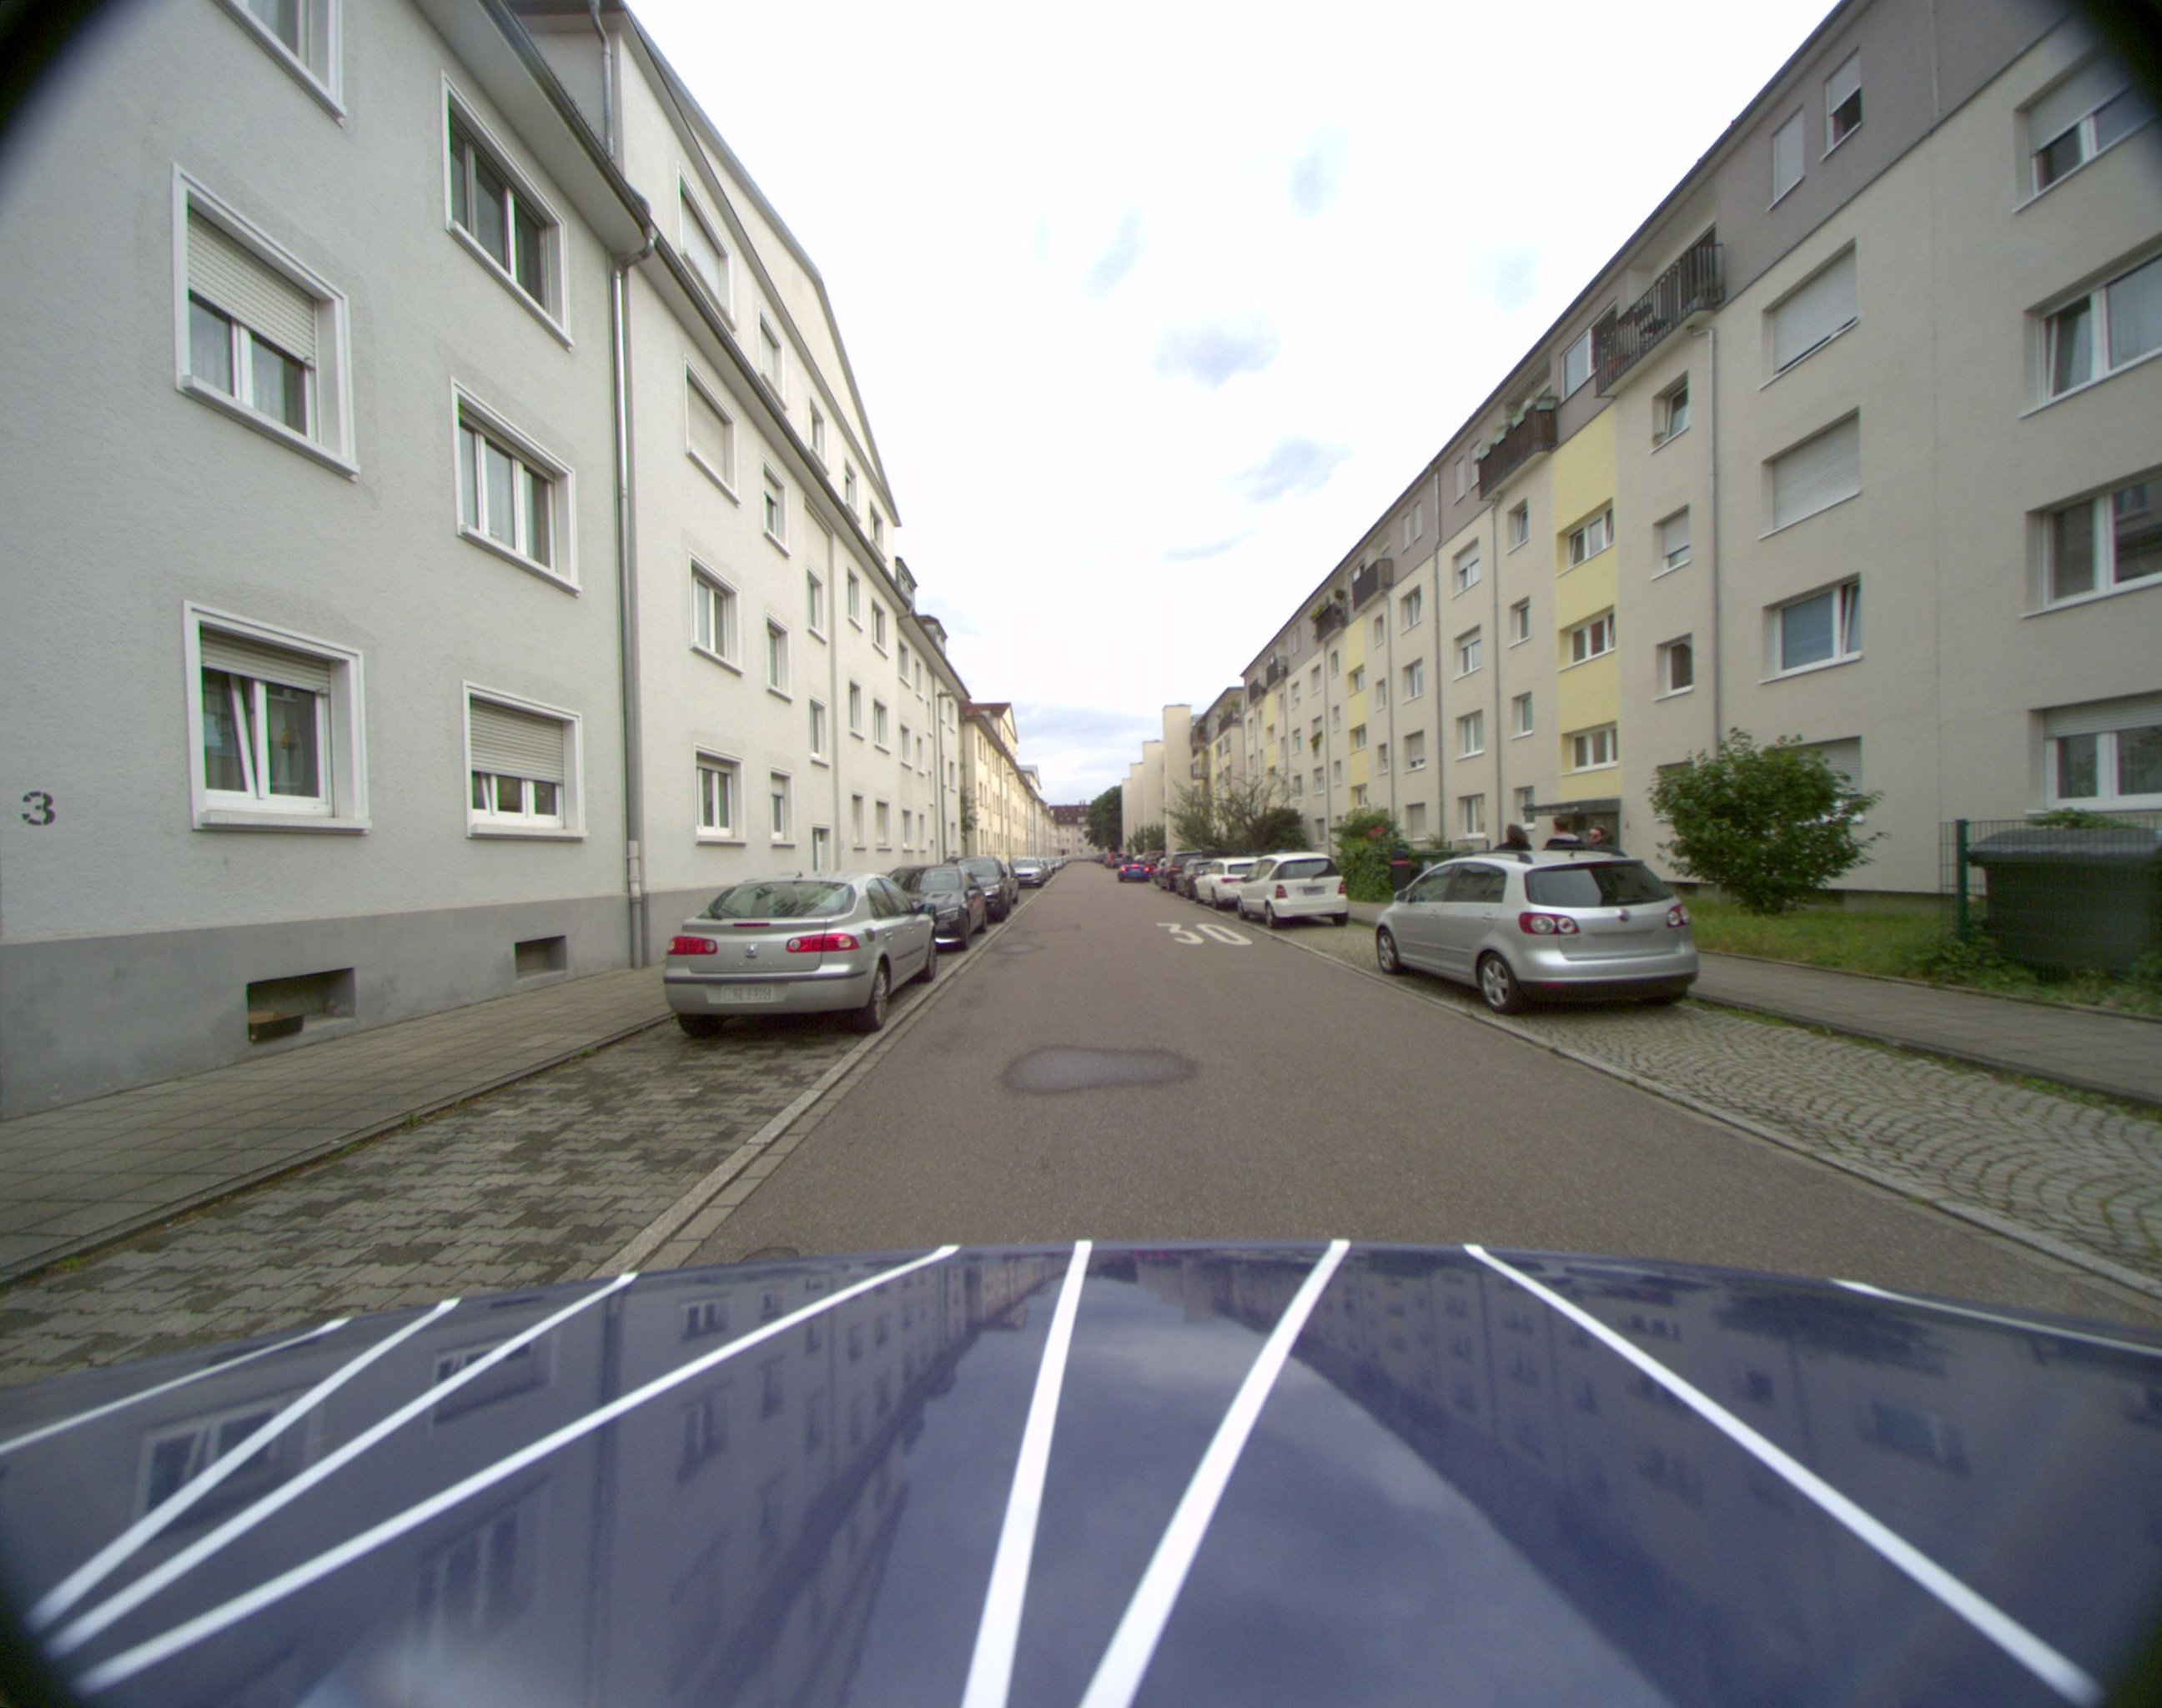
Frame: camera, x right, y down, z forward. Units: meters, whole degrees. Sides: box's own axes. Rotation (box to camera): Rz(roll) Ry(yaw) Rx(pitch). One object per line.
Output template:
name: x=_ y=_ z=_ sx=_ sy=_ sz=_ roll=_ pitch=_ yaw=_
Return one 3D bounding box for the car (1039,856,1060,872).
car: x=-2.799 y=0.895 z=68.060 sx=1.737 sy=1.363 sz=4.217 roll=-1 pitch=0 yaw=-2

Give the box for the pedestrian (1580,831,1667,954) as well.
pedestrian: x=7.616 y=0.521 z=10.698 sx=0.616 sy=1.647 sz=0.803 roll=-1 pitch=0 yaw=0

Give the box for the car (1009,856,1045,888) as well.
car: x=-2.801 y=0.918 z=40.194 sx=1.737 sy=1.538 sz=3.677 roll=-1 pitch=0 yaw=-2

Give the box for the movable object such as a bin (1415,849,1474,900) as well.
movable object such as a bin: x=10.470 y=0.571 z=21.899 sx=1.059 sy=1.367 sz=1.188 roll=-2 pitch=2 yaw=-5

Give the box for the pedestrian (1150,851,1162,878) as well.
pedestrian: x=4.641 y=0.652 z=46.876 sx=0.603 sy=1.657 sz=0.622 roll=-1 pitch=0 yaw=-3

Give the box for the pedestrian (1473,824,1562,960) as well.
pedestrian: x=6.299 y=0.527 z=11.008 sx=0.642 sy=1.853 sz=0.974 roll=-3 pitch=0 yaw=0

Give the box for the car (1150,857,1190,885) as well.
car: x=4.792 y=0.903 z=41.157 sx=1.575 sy=1.389 sz=3.541 roll=-1 pitch=0 yaw=-3

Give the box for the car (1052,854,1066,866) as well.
car: x=-2.756 y=0.802 z=97.031 sx=1.737 sy=1.443 sz=4.217 roll=-1 pitch=0 yaw=-2

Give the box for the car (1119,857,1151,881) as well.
car: x=3.245 y=0.898 z=46.363 sx=1.680 sy=1.307 sz=3.907 roll=-1 pitch=1 yaw=1

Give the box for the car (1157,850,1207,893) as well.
car: x=4.479 y=0.774 z=34.345 sx=1.575 sy=1.769 sz=4.452 roll=-1 pitch=0 yaw=-1

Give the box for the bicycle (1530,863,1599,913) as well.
bicycle: x=10.556 y=0.720 z=16.634 sx=0.421 sy=1.018 sz=1.559 roll=-1 pitch=0 yaw=-3

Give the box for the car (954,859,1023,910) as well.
car: x=-2.889 y=0.919 z=24.414 sx=1.737 sy=1.478 sz=3.756 roll=-1 pitch=0 yaw=0

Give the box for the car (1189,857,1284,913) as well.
car: x=4.581 y=0.867 z=23.134 sx=1.723 sy=1.501 sz=4.686 roll=-1 pitch=0 yaw=-3

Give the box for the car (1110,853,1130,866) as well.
car: x=4.728 y=0.668 z=91.865 sx=2.013 sy=1.436 sz=4.196 roll=-1 pitch=0 yaw=-3

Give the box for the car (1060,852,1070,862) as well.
car: x=-2.648 y=0.517 z=126.058 sx=1.737 sy=1.670 sz=3.591 roll=-1 pitch=0 yaw=-2

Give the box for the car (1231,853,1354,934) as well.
car: x=4.726 y=0.825 z=17.531 sx=1.689 sy=1.629 sz=3.727 roll=-1 pitch=0 yaw=-1

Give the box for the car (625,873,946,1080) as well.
car: x=-2.656 y=0.991 z=8.039 sx=1.737 sy=1.454 sz=4.430 roll=-1 pitch=0 yaw=-2

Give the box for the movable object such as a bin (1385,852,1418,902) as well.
movable object such as a bin: x=9.016 y=0.634 z=21.381 sx=0.659 sy=1.360 sz=0.587 roll=-2 pitch=2 yaw=-4

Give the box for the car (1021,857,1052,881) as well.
car: x=-2.839 y=0.944 z=49.108 sx=1.737 sy=1.418 sz=4.217 roll=-1 pitch=0 yaw=-1

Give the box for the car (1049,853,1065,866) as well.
car: x=-2.778 y=0.635 z=87.238 sx=1.737 sy=1.443 sz=4.217 roll=-1 pitch=0 yaw=-2

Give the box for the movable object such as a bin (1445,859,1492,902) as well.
movable object such as a bin: x=10.613 y=0.719 z=20.834 sx=0.871 sy=1.103 sz=0.787 roll=-2 pitch=2 yaw=-4

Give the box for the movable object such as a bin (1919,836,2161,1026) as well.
movable object such as a bin: x=8.902 y=0.568 z=6.500 sx=1.593 sy=1.412 sz=1.671 roll=-2 pitch=0 yaw=-1

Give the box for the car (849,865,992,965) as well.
car: x=-2.722 y=0.975 z=13.884 sx=1.786 sy=1.454 sz=4.322 roll=-1 pitch=0 yaw=-2

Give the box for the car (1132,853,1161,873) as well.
car: x=4.949 y=0.681 z=57.899 sx=1.707 sy=1.436 sz=3.541 roll=-1 pitch=0 yaw=-3

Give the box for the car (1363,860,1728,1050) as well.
car: x=4.752 y=0.888 z=8.535 sx=1.658 sy=1.541 sz=3.915 roll=-3 pitch=0 yaw=0

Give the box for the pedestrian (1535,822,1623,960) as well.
pedestrian: x=6.940 y=0.496 z=10.621 sx=0.708 sy=1.843 sz=0.763 roll=-1 pitch=0 yaw=0

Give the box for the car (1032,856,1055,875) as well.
car: x=-2.931 y=0.890 z=60.350 sx=1.737 sy=1.402 sz=4.217 roll=-1 pitch=0 yaw=-2

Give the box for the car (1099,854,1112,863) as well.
car: x=4.431 y=0.834 z=136.744 sx=1.746 sy=1.534 sz=3.636 roll=-1 pitch=0 yaw=-6

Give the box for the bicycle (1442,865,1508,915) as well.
bicycle: x=8.693 y=0.764 z=16.841 sx=0.489 sy=1.018 sz=1.878 roll=-1 pitch=0 yaw=0

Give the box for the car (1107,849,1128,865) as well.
car: x=4.658 y=0.429 z=98.100 sx=2.188 sy=2.019 sz=4.422 roll=-1 pitch=0 yaw=-3

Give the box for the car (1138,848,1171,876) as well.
car: x=4.992 y=0.529 z=51.710 sx=1.707 sy=1.795 sz=3.541 roll=-1 pitch=0 yaw=-3

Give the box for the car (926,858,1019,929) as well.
car: x=-2.638 y=0.907 z=19.355 sx=1.853 sy=1.589 sz=4.159 roll=-1 pitch=0 yaw=-2

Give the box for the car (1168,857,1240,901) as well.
car: x=4.489 y=0.867 z=28.316 sx=1.730 sy=1.445 sz=4.481 roll=-1 pitch=0 yaw=-3
